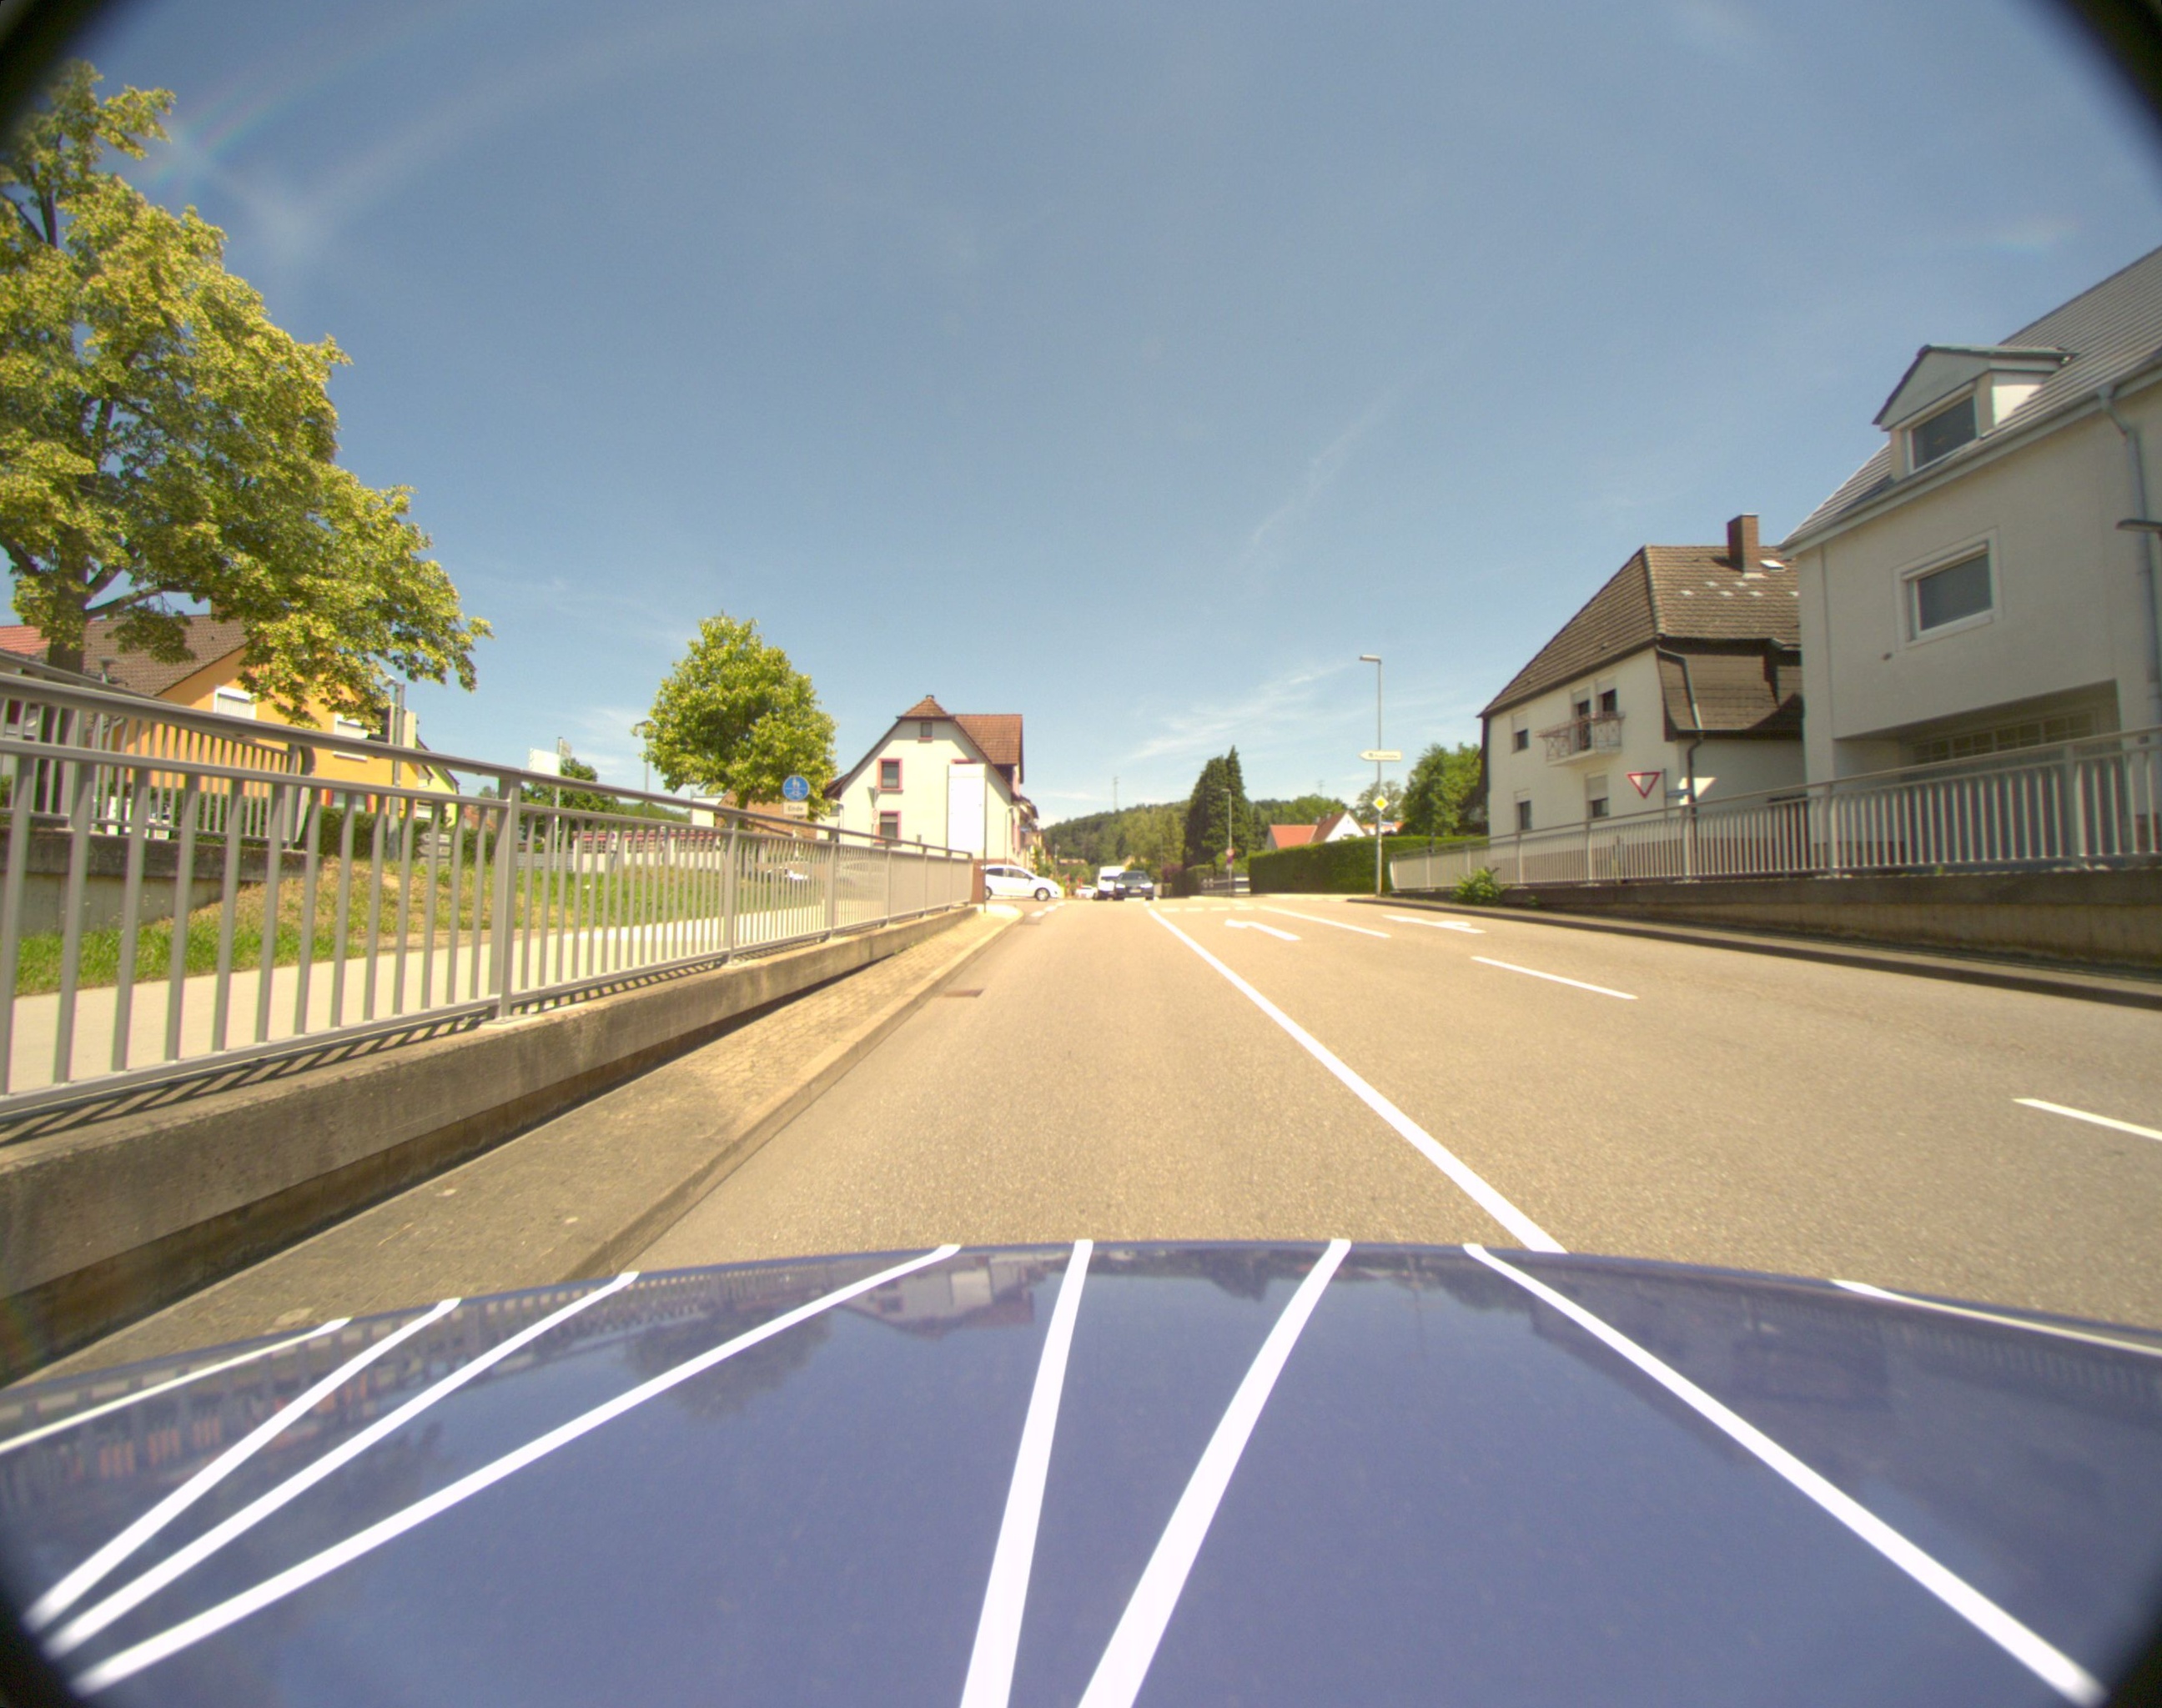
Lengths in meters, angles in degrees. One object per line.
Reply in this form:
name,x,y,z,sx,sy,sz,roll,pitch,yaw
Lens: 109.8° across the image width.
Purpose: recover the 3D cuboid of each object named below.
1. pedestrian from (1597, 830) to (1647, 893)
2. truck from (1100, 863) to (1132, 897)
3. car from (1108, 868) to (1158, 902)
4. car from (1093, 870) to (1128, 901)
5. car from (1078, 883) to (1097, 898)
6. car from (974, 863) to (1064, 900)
pedestrian,15.147,0.207,21.299,0.729,1.719,0.856,-2,0,-2
truck,3.702,2.845,82.662,3.149,3.465,8.276,-1,-3,0
car,2.353,1.396,35.075,1.864,1.441,4.000,-1,-1,-2
car,2.062,2.199,53.926,1.999,2.001,4.548,-2,-1,-3
car,0.686,3.953,81.999,1.999,1.509,4.146,2,-3,0
car,-2.618,1.169,32.150,3.681,1.469,1.775,1,-1,-5
